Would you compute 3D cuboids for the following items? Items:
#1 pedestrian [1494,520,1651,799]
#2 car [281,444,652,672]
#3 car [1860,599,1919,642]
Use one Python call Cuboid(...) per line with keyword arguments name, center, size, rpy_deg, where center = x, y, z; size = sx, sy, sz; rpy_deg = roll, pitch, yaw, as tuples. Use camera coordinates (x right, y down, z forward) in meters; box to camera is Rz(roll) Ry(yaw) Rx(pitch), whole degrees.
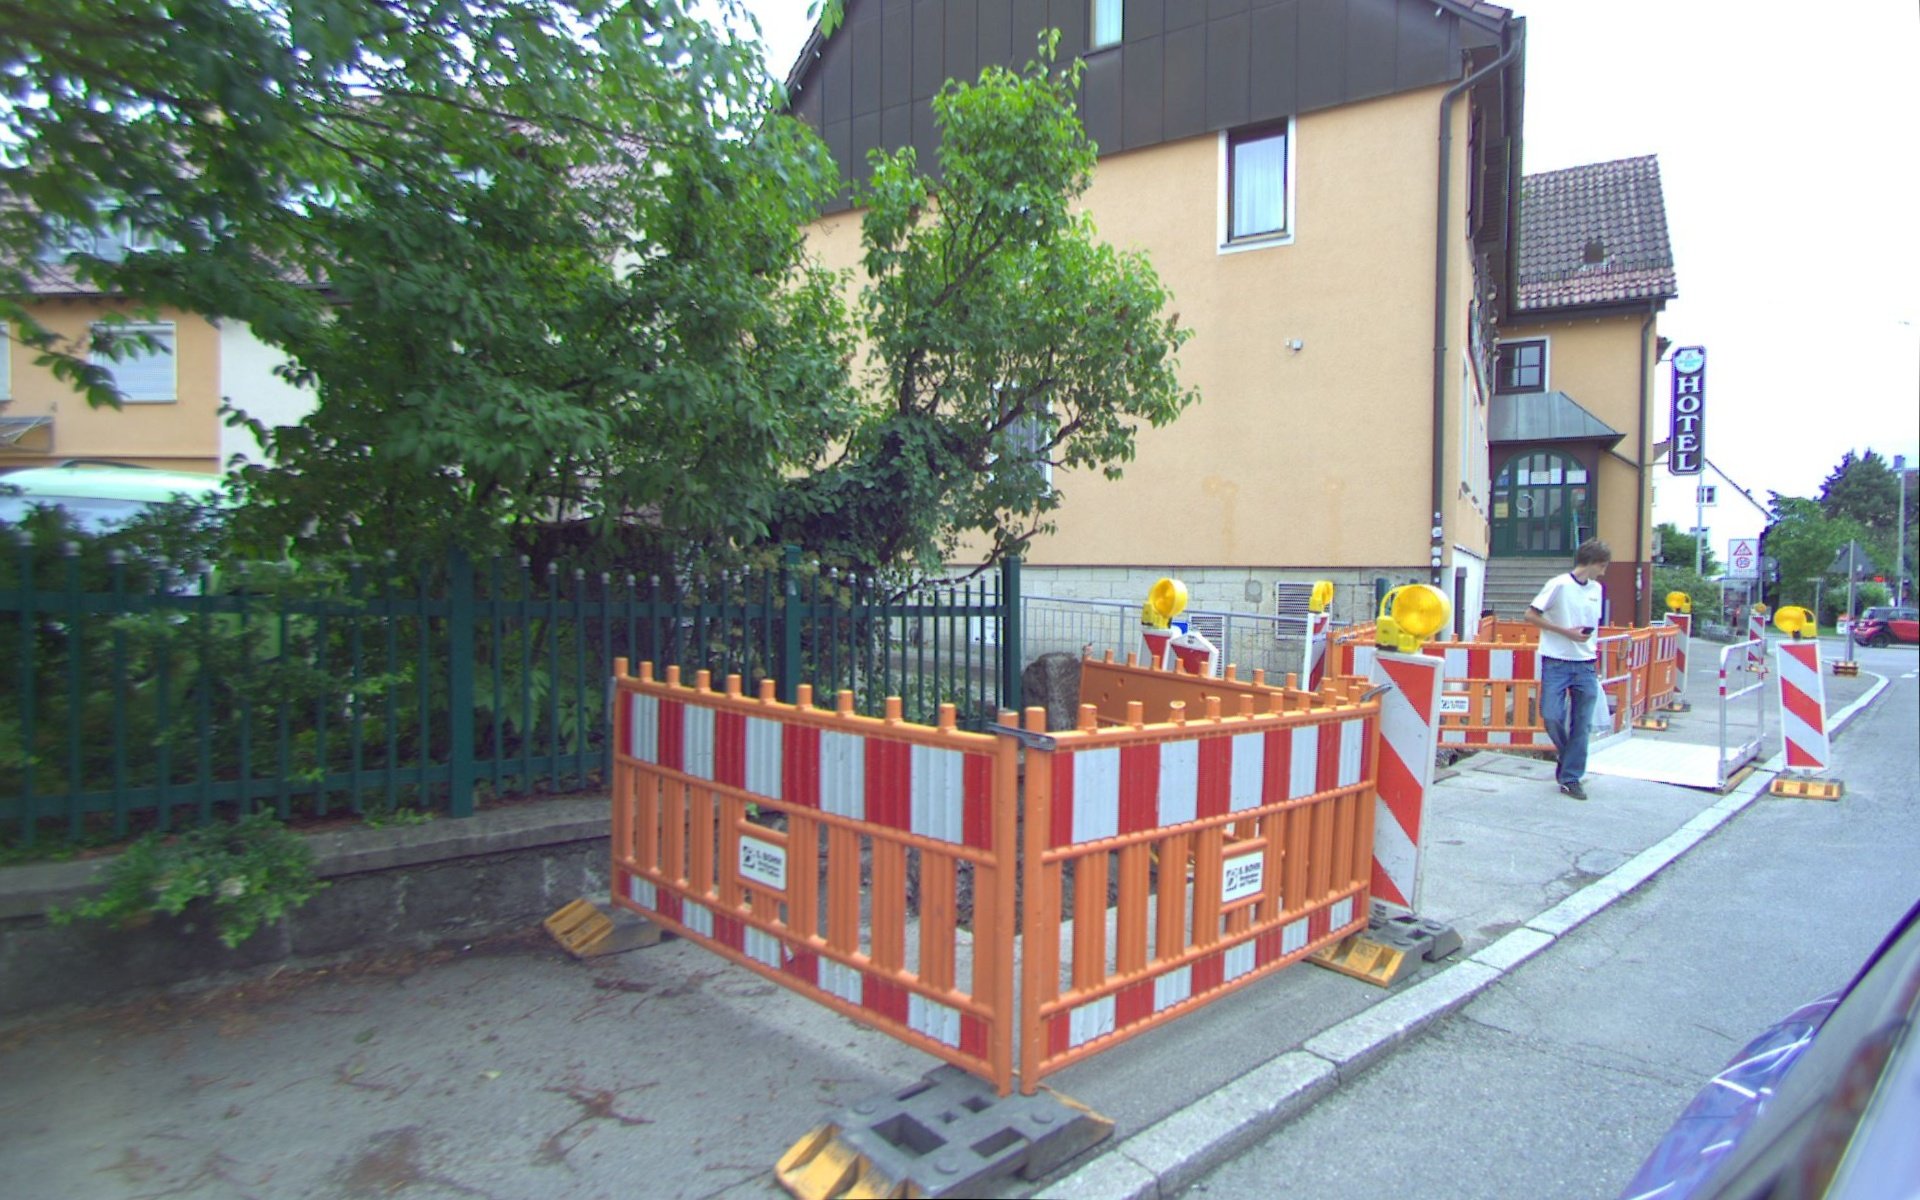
Cuboid(name="pedestrian", center=(4.675, 0.407, 7.719), size=(0.823, 1.974, 0.798), rpy_deg=(1, 1, -45))
Cuboid(name="car", center=(-4.540, -0.325, 9.021), size=(3.987, 1.582, 1.720), rpy_deg=(1, 1, 44))
Cuboid(name="car", center=(35.844, 0.784, 37.784), size=(2.910, 1.539, 1.804), rpy_deg=(2, 1, 26))
